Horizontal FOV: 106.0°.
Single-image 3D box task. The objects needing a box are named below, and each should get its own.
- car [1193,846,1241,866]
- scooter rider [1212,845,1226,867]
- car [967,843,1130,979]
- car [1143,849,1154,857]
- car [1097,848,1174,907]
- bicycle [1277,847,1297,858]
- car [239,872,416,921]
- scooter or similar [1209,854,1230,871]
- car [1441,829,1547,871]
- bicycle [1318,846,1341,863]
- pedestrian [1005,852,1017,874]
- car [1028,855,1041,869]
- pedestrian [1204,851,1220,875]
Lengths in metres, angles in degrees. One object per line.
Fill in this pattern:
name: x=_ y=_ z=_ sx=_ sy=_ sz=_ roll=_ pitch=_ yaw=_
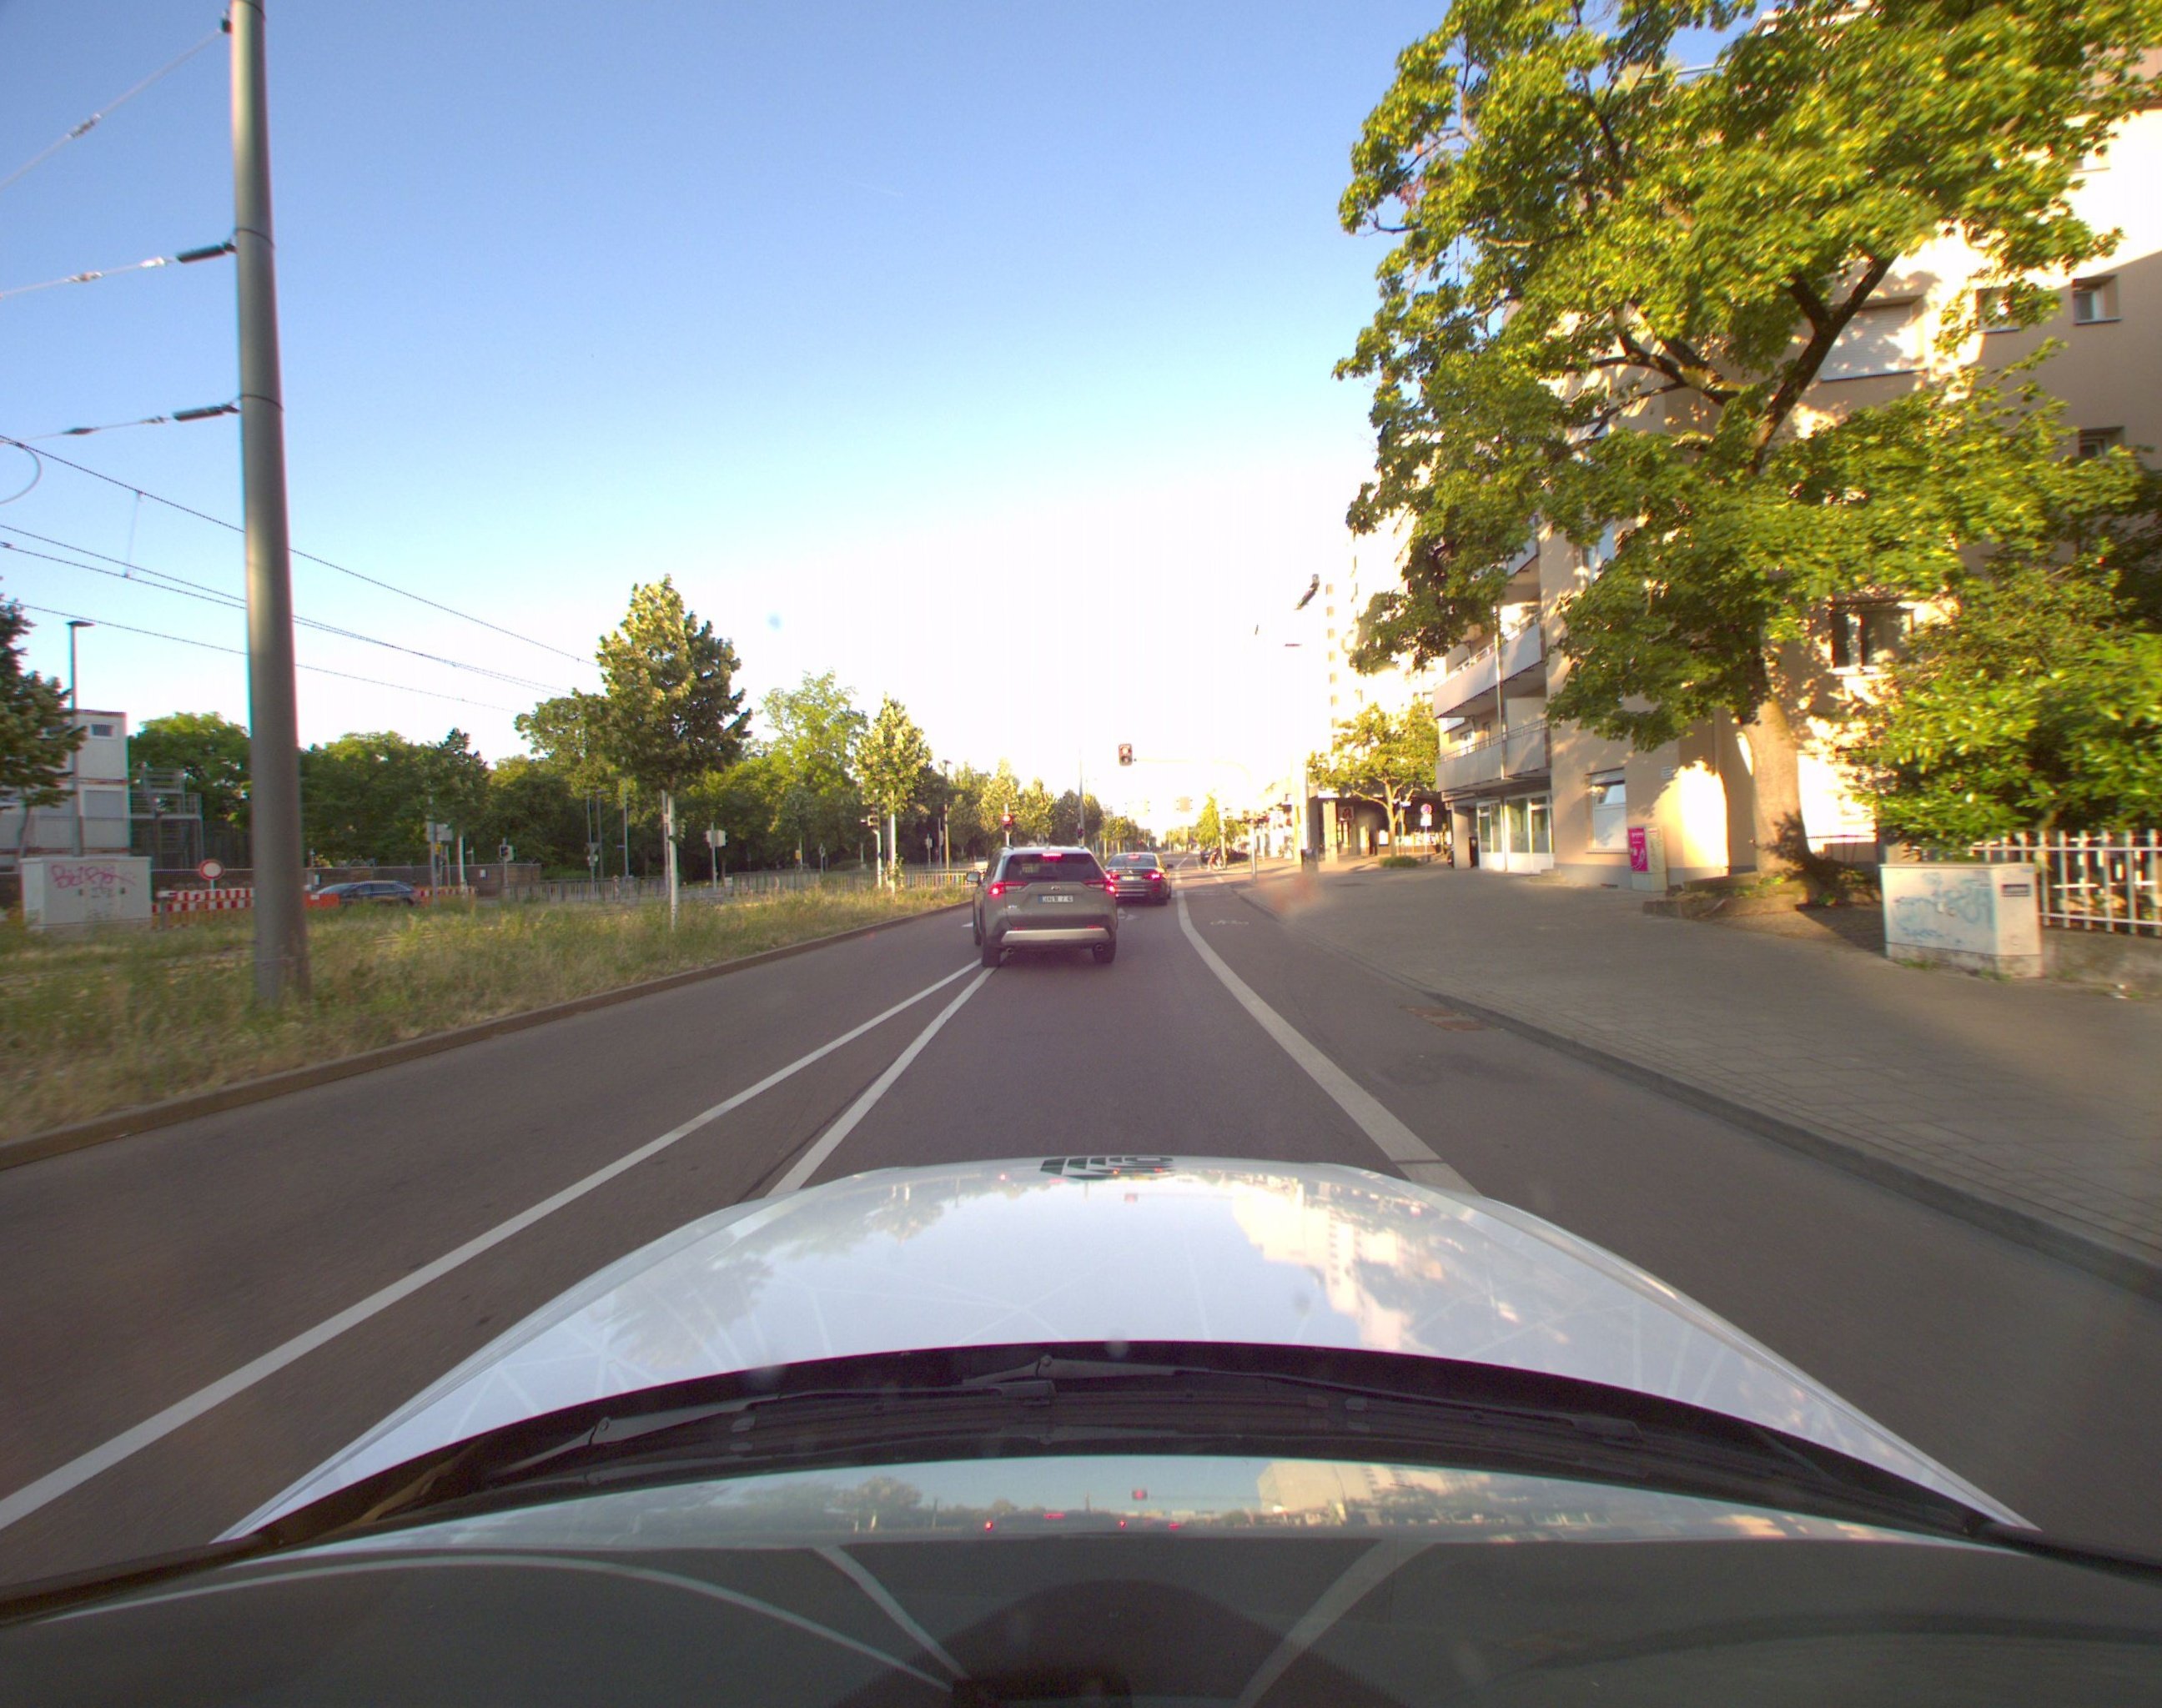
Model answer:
car: x=12.395 y=0.163 z=74.209 sx=4.288 sy=1.658 sz=1.840 roll=-2 pitch=1 yaw=-37
scooter rider: x=10.015 y=0.138 z=59.062 sx=0.813 sy=1.514 sz=0.656 roll=-2 pitch=0 yaw=23
car: x=-0.688 y=0.694 z=12.545 sx=1.855 sy=1.658 sz=4.252 roll=-1 pitch=1 yaw=-11
car: x=13.615 y=-0.179 z=164.274 sx=1.969 sy=1.433 sz=4.851 roll=-1 pitch=1 yaw=6
car: x=1.704 y=0.608 z=24.077 sx=1.921 sy=1.481 sz=4.533 roll=-1 pitch=1 yaw=8
bicycle: x=21.573 y=-0.164 z=85.212 sx=2.003 sy=1.149 sz=0.693 roll=1 pitch=-1 yaw=12
car: x=-27.771 y=1.510 z=30.265 sx=1.920 sy=1.481 sz=4.534 roll=-1 pitch=1 yaw=9
scooter or similar: x=10.037 y=0.628 z=59.028 sx=1.317 sy=1.153 sz=0.516 roll=-2 pitch=0 yaw=23
car: x=19.120 y=-0.167 z=37.866 sx=4.016 sy=1.585 sz=1.710 roll=-4 pitch=-3 yaw=10
bicycle: x=17.628 y=0.044 z=57.778 sx=0.689 sy=1.149 sz=2.014 roll=1 pitch=-1 yaw=-13
pedestrian: x=-5.567 y=0.733 z=64.918 sx=0.831 sy=1.712 sz=0.648 roll=-2 pitch=0 yaw=4
car: x=-7.631 y=1.302 z=133.855 sx=1.987 sy=2.168 sz=4.749 roll=-1 pitch=1 yaw=-1
pedestrian: x=9.144 y=0.617 z=56.839 sx=0.827 sy=1.586 sz=0.816 roll=-2 pitch=0 yaw=22
